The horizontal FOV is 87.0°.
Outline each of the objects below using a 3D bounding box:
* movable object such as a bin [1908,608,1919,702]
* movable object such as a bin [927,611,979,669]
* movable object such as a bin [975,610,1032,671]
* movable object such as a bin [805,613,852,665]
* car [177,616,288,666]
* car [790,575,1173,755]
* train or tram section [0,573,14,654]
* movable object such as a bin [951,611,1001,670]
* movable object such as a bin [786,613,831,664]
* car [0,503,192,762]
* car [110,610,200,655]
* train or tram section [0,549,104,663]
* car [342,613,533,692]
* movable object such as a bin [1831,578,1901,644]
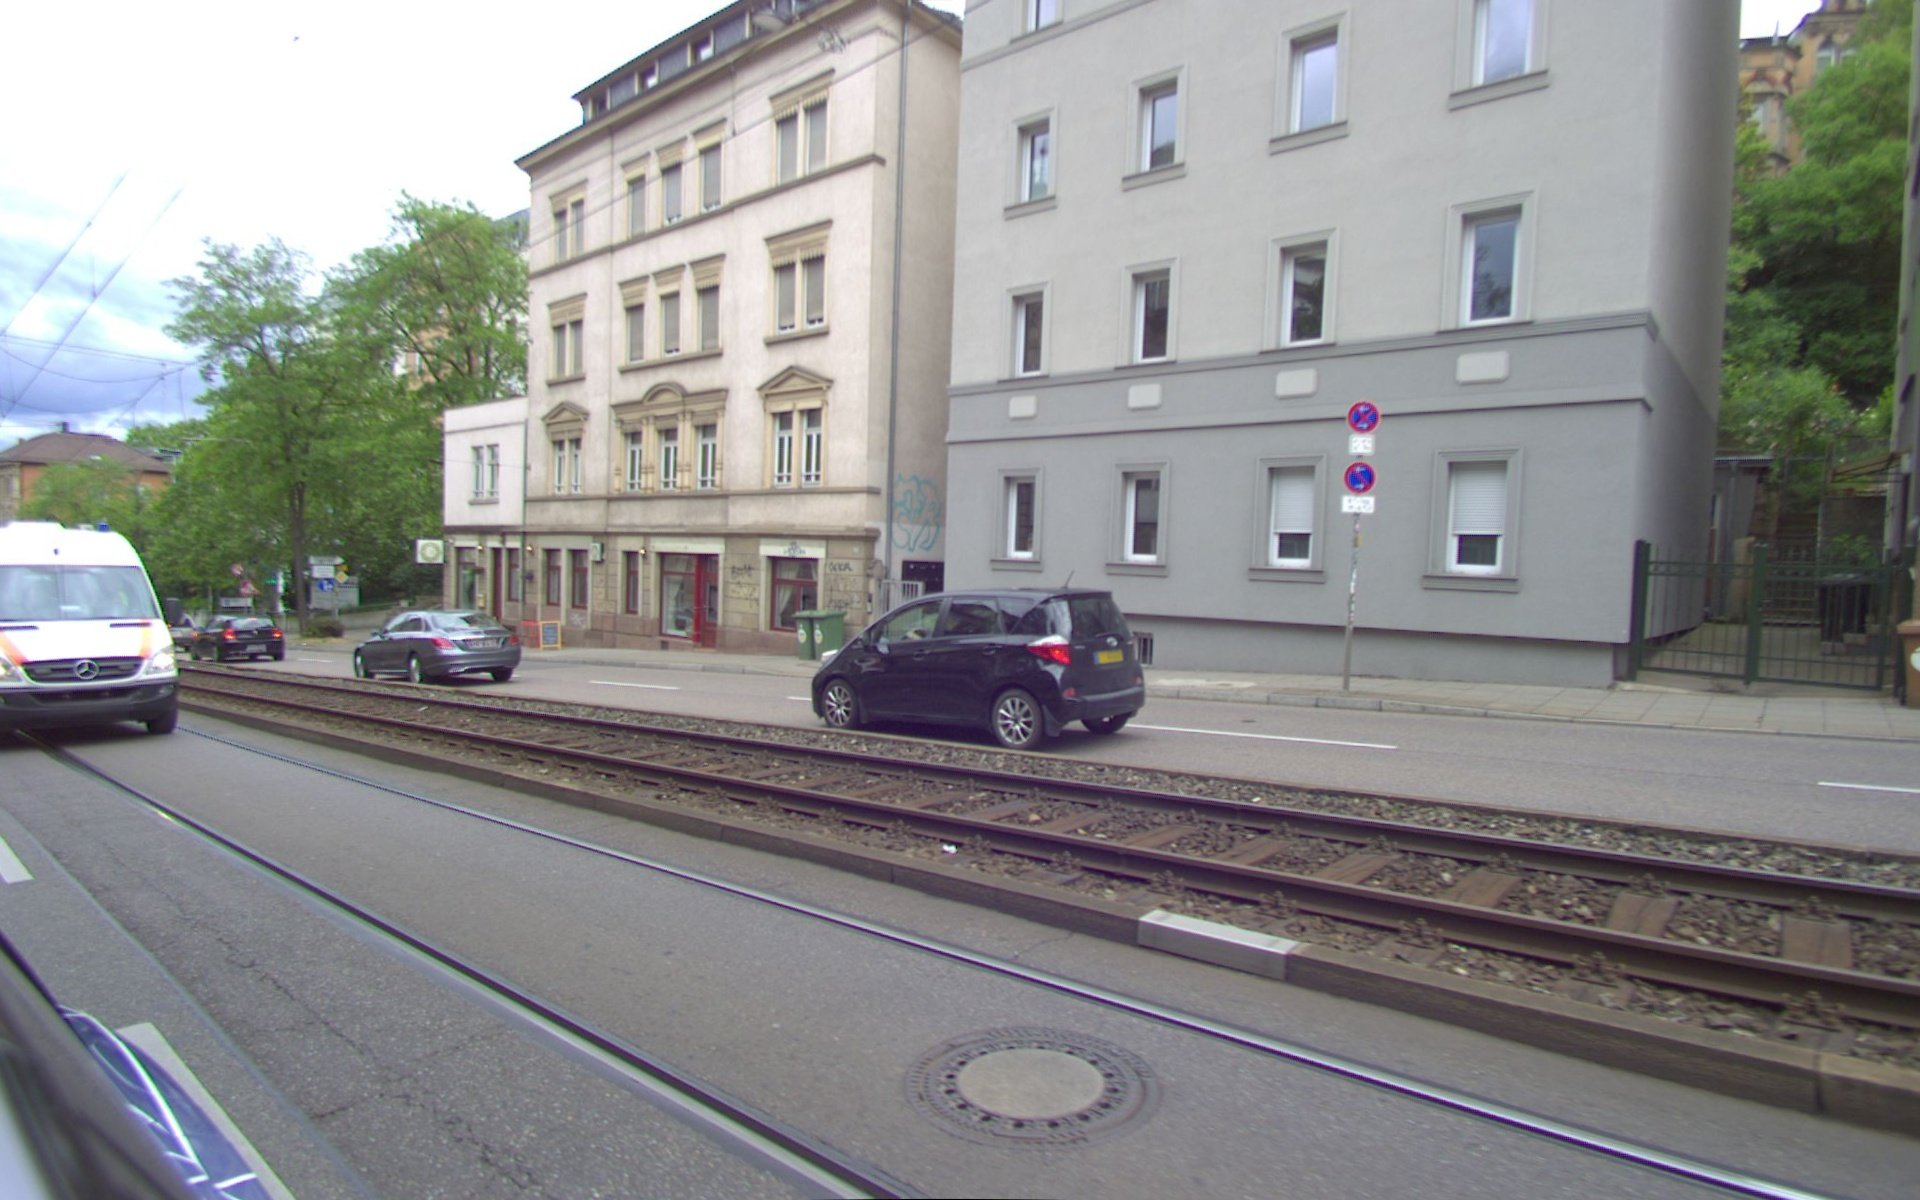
[{"bbox_3d":[10.339,0.562,10.520,0.653,0.955,0.771,-1,-1,41],"label":"movable object such as a bin"},{"bbox_3d":[-0.137,0.760,19.480,0.671,1.082,0.720,-1,-1,41],"label":"movable object such as a bin"},{"bbox_3d":[0.803,0.737,18.628,0.697,1.082,0.816,-1,-1,41],"label":"movable object such as a bin"},{"bbox_3d":[-2.825,0.825,21.756,0.681,1.082,0.710,-1,-1,41],"label":"movable object such as a bin"},{"bbox_3d":[-21.849,1.194,30.360,4.160,1.374,1.811,-1,0,41],"label":"car"},{"bbox_3d":[0.111,0.602,10.964,3.967,1.608,1.725,-1,0,41],"label":"car"},{"bbox_3d":[-52.359,0.830,52.466,18.745,3.753,2.847,-1,1,41],"label":"train or tram section"},{"bbox_3d":[0.305,0.750,18.991,0.606,1.082,0.735,-1,-1,41],"label":"movable object such as a bin"},{"bbox_3d":[-3.335,0.835,22.261,0.676,1.082,0.680,-1,-1,41],"label":"movable object such as a bin"},{"bbox_3d":[-11.898,0.401,13.047,5.851,2.720,2.013,-2,-1,41],"label":"car"},{"bbox_3d":[-30.952,1.232,38.859,4.237,1.608,1.973,-1,0,41],"label":"car"},{"bbox_3d":[-38.149,0.339,40.236,18.737,3.753,2.848,-1,1,39],"label":"train or tram section"},{"bbox_3d":[-10.577,0.980,20.305,4.762,1.371,1.793,-1,0,41],"label":"car"},{"bbox_3d":[14.464,0.176,16.175,0.798,1.002,0.663,-1,1,41],"label":"movable object such as a bin"}]
